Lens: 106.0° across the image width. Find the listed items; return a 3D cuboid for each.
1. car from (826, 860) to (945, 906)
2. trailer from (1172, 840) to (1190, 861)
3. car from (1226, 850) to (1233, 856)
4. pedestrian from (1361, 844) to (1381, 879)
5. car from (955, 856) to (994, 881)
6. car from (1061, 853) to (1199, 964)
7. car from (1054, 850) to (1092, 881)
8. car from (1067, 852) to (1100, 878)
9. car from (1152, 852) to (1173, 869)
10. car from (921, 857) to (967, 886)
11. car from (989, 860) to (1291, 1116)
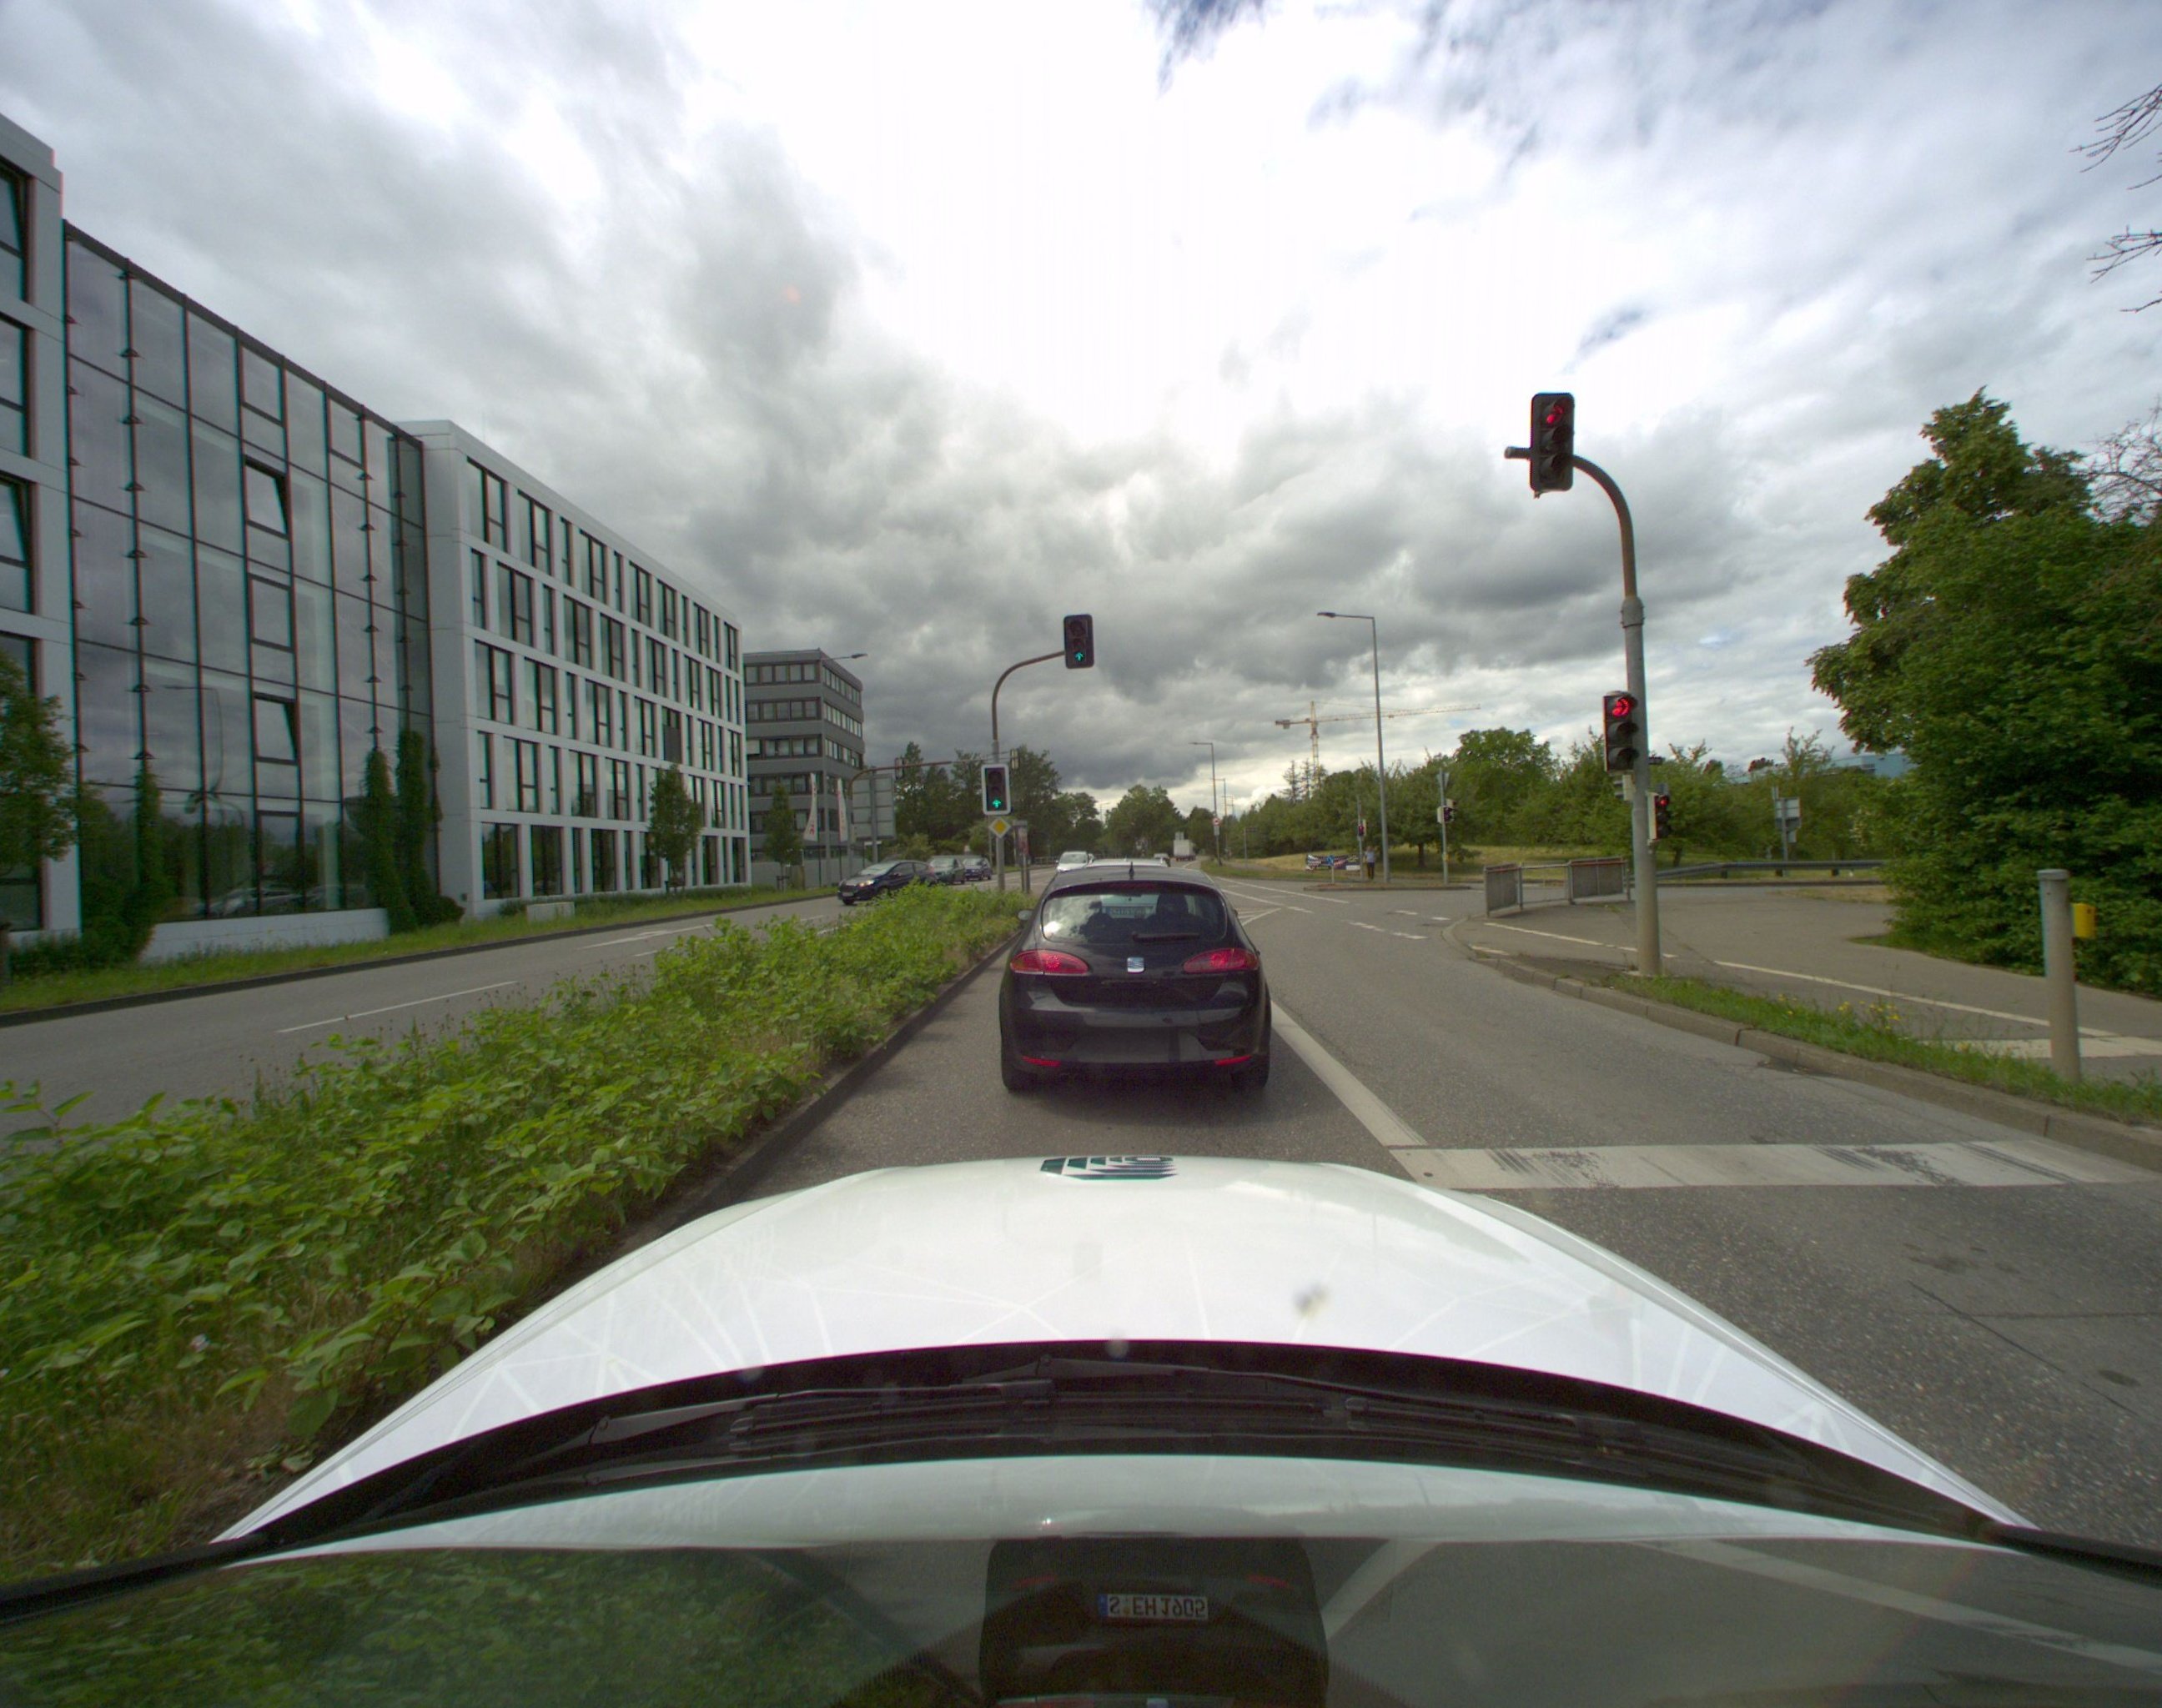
[{"bbox_3d":[-6.655,0.937,28.100,1.737,1.446,3.916,-1,-1,30],"label":"car"},{"bbox_3d":[14.752,-0.480,119.584,2.477,3.073,5.600,-1,-1,9],"label":"trailer"},{"bbox_3d":[39.518,-0.320,216.606,1.656,1.596,4.013,-1,-1,11],"label":"car"},{"bbox_3d":[15.065,0.409,42.277,0.714,1.793,1.045,0,-1,5],"label":"pedestrian"},{"bbox_3d":[-6.601,0.866,50.600,1.546,1.419,3.902,-1,0,5],"label":"car"},{"bbox_3d":[0.750,0.741,12.728,1.827,1.467,3.754,0,-1,3],"label":"car"},{"bbox_3d":[-0.377,0.605,46.388,1.812,1.686,4.650,0,0,4],"label":"car"},{"bbox_3d":[0.193,0.673,52.347,1.652,1.518,4.091,-1,0,6],"label":"car"},{"bbox_3d":[7.847,0.631,78.620,1.984,1.565,4.478,-1,0,5],"label":"car"},{"bbox_3d":[-7.296,0.892,43.708,1.598,1.432,3.757,-1,0,4],"label":"car"},{"bbox_3d":[0.396,0.780,6.380,1.704,1.417,3.461,-1,0,2],"label":"car"}]
